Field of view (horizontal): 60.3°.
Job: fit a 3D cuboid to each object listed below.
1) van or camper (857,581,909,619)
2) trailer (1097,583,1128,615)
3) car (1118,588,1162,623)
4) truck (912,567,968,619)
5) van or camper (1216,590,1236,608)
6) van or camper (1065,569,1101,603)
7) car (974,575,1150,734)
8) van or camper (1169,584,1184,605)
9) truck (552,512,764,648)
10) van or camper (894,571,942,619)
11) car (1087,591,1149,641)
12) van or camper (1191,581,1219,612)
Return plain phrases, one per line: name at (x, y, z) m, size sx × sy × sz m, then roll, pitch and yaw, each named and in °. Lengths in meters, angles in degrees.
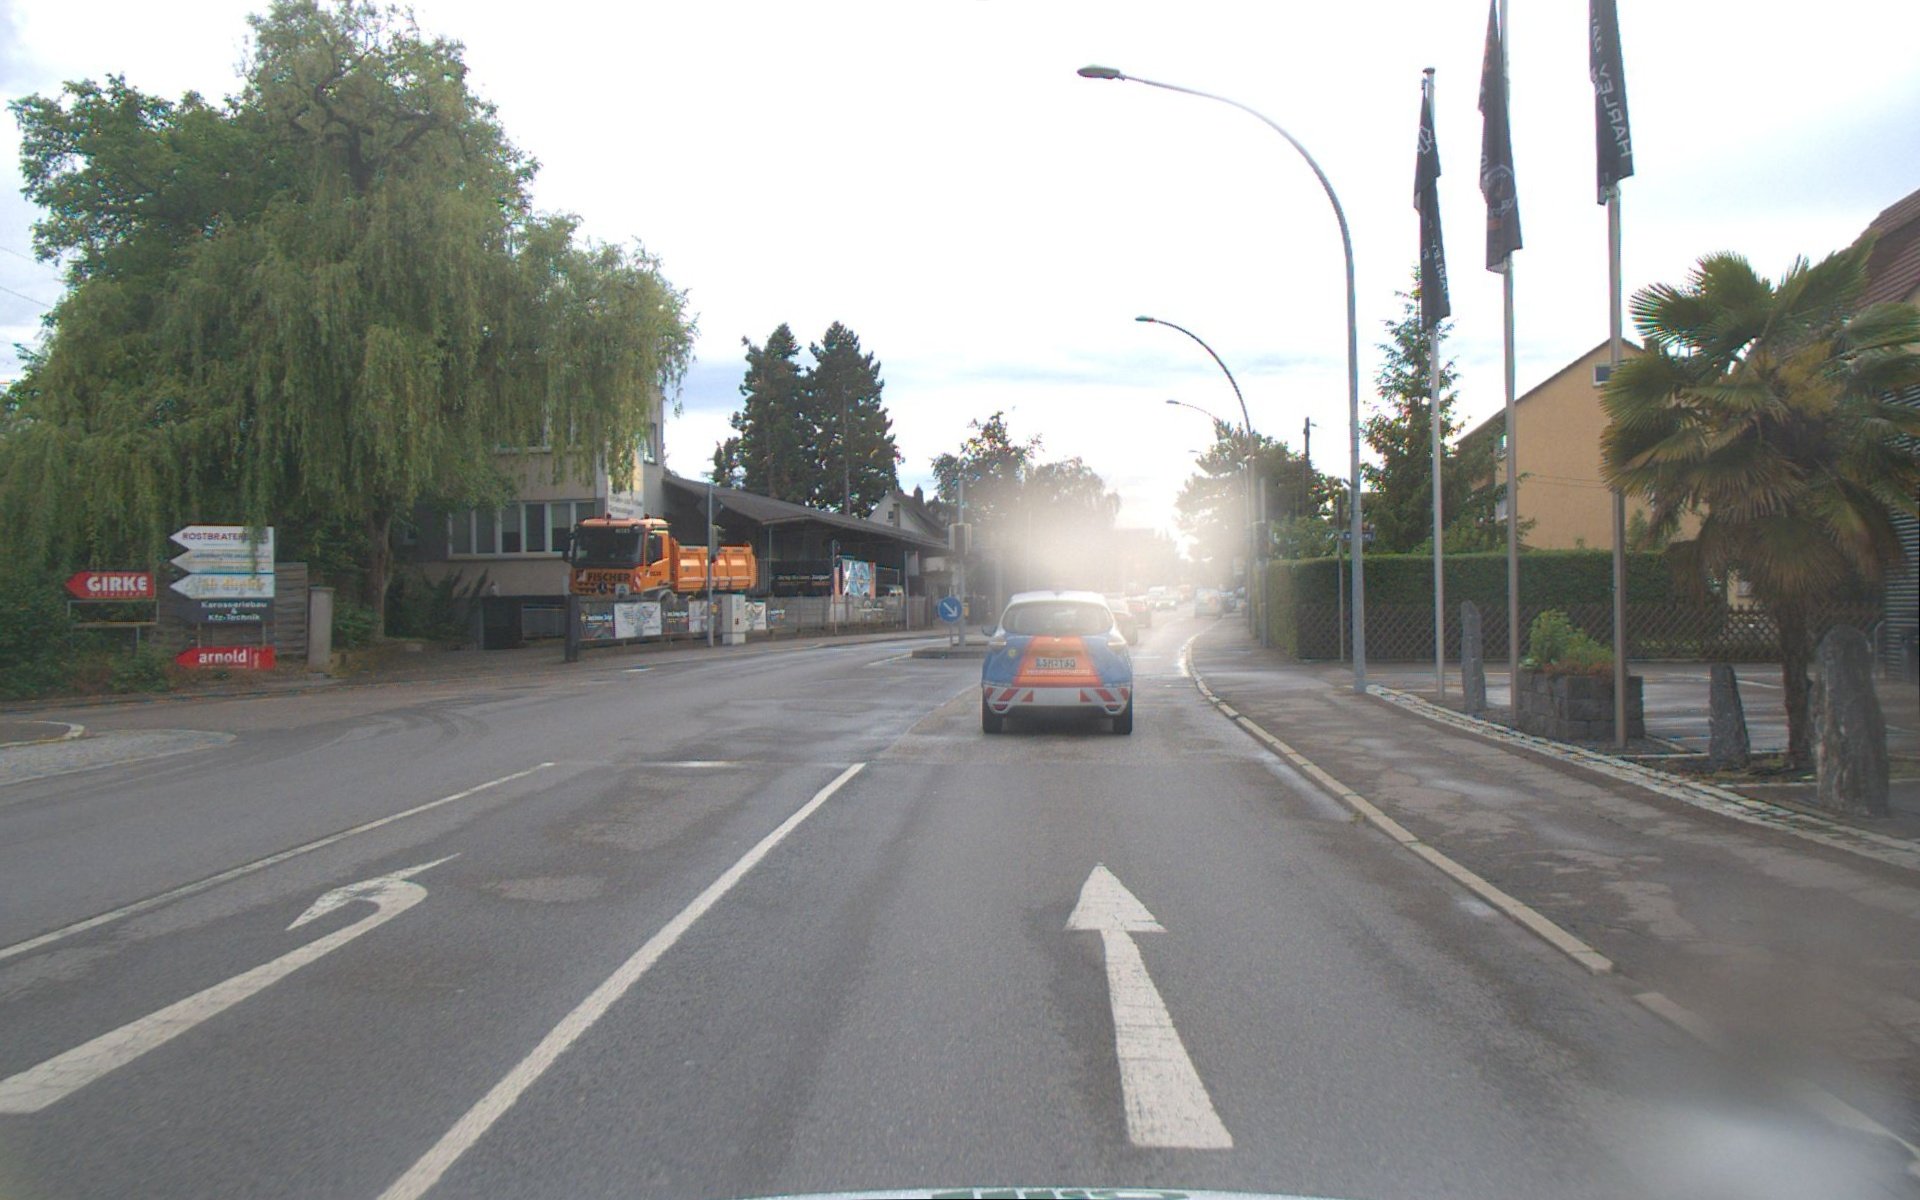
van or camper at (-4.126, -0.007, 89.442) m, size 1.951 × 1.942 × 4.475 m, roll 2°, pitch 0°, yaw 8°
trailer at (12.629, -0.119, 136.759) m, size 2.174 × 2.047 × 4.442 m, roll -6°, pitch 3°, yaw 8°
car at (8.458, 0.269, 77.957) m, size 1.951 × 1.445 × 4.002 m, roll 2°, pitch -2°, yaw 5°
truck at (-1.192, -0.382, 101.748) m, size 2.343 × 2.978 × 5.961 m, roll 2°, pitch -1°, yaw 10°
van or camper at (27.047, -0.094, 168.401) m, size 1.951 × 1.816 × 4.003 m, roll -1°, pitch 0°, yaw 9°
van or camper at (8.249, -0.918, 110.530) m, size 1.850 × 2.049 × 5.100 m, roll 2°, pitch -2°, yaw 10°
car at (1.202, 0.570, 19.702) m, size 1.849 × 1.660 × 4.002 m, roll -1°, pitch 0°, yaw 3°
van or camper at (30.183, -0.751, 230.377) m, size 1.951 × 2.823 × 5.445 m, roll -1°, pitch 0°, yaw 9°
truck at (-8.531, -0.414, 48.175) m, size 2.640 × 3.471 × 9.078 m, roll 2°, pitch -2°, yaw 13°
van or camper at (-2.395, -0.253, 96.142) m, size 1.819 × 2.480 × 5.237 m, roll 2°, pitch -2°, yaw 9°
car at (4.822, 0.508, 50.793) m, size 1.684 × 1.400 × 3.935 m, roll 2°, pitch -2°, yaw 3°
van or camper at (15.891, -0.242, 107.165) m, size 1.717 × 1.916 × 4.003 m, roll -1°, pitch 0°, yaw 9°
